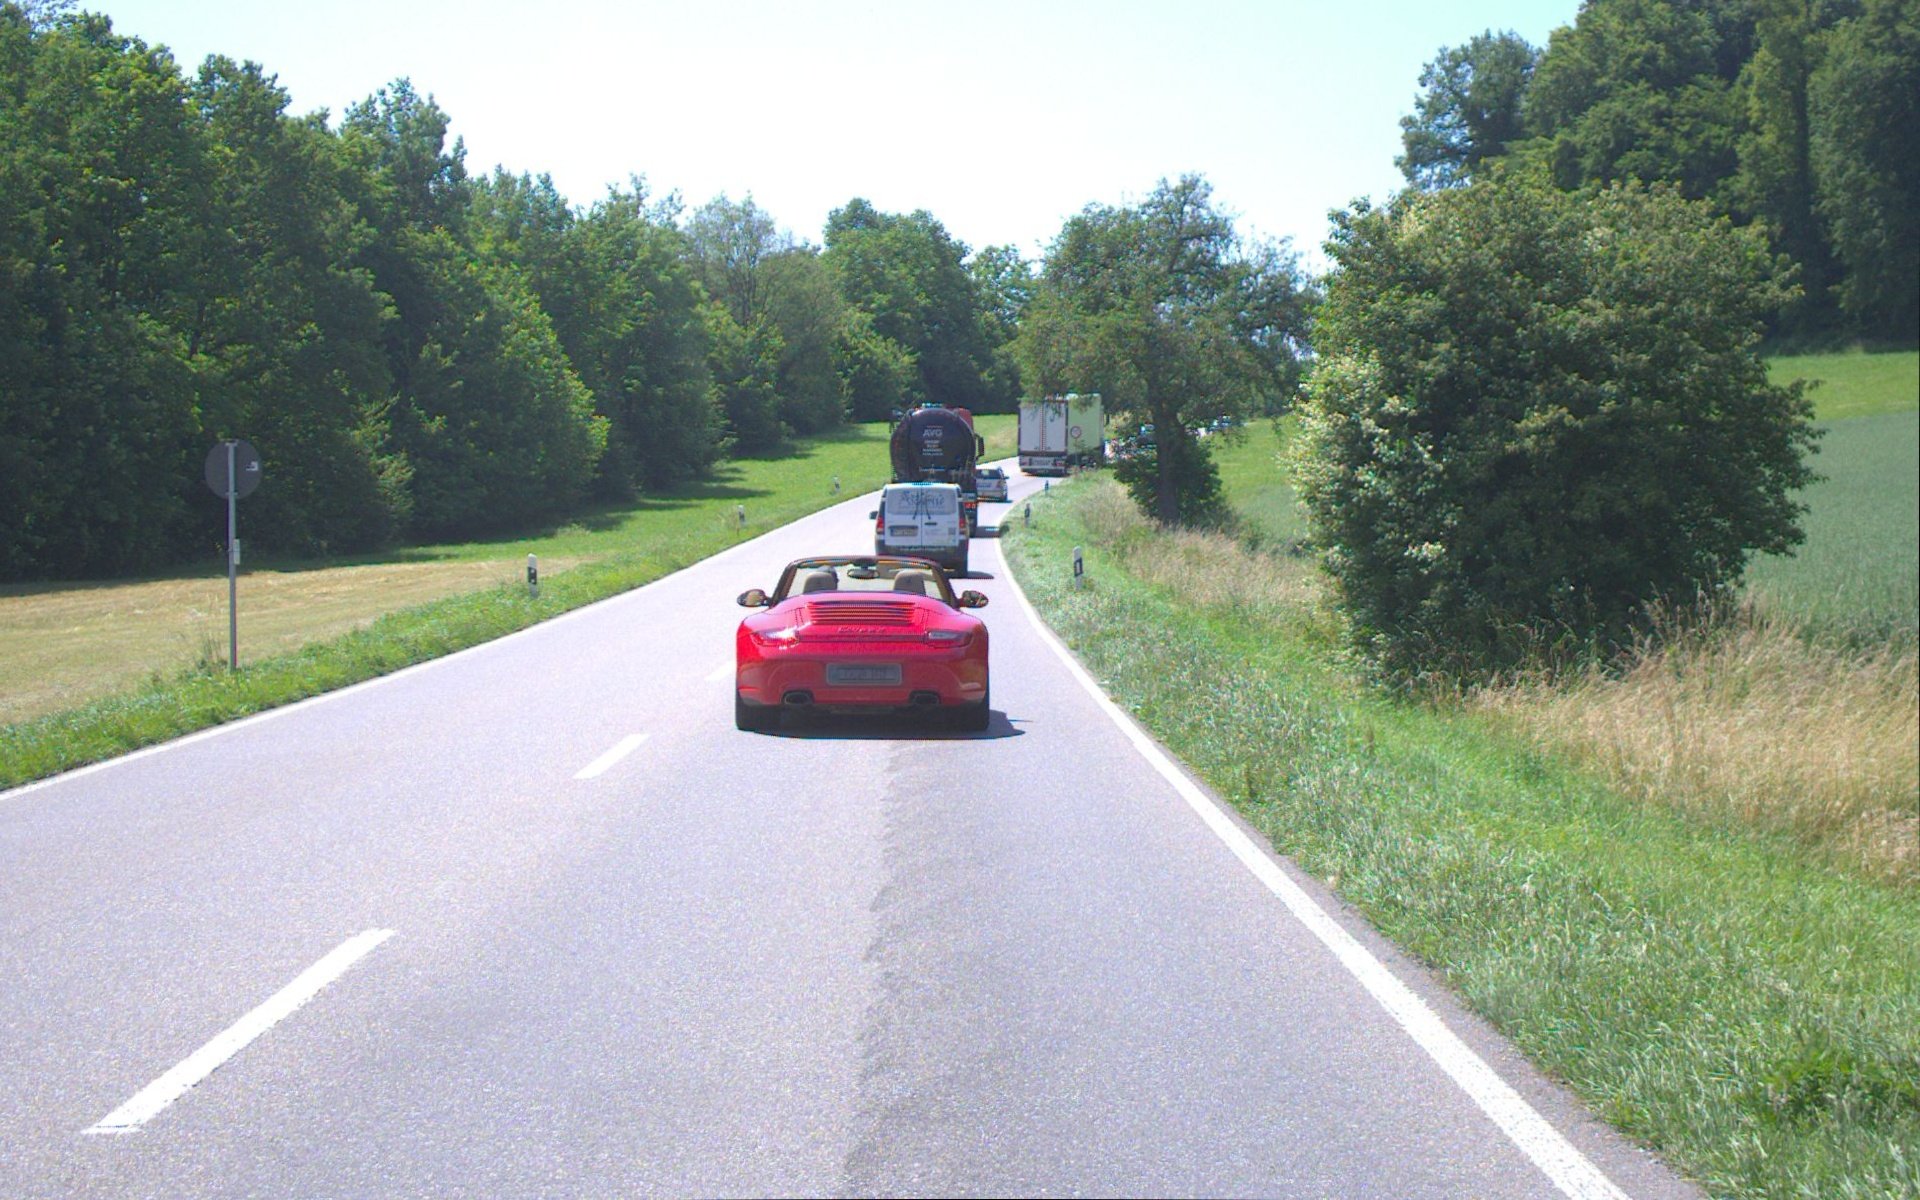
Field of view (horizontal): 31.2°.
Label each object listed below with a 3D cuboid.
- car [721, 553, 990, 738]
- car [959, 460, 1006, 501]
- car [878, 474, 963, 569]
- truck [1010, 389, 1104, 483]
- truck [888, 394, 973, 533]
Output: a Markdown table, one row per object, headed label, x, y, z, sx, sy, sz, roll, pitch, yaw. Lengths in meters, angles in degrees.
| label | x | y | z | sx | sy | sz | roll | pitch | yaw |
| --- | --- | --- | --- | --- | --- | --- | --- | --- | --- |
| car | -0.748 | 0.292 | 26.144 | 1.882 | 1.250 | 4.010 | 0 | 1 | 0 |
| car | 0.989 | -5.155 | 147.920 | 1.831 | 1.508 | 4.191 | -2 | 4 | 3 |
| car | -0.802 | -1.635 | 70.625 | 1.678 | 1.894 | 4.010 | 0 | 2 | 0 |
| truck | 5.274 | -8.850 | 183.799 | 3.726 | 4.643 | 12.030 | 0 | 4 | 8 |
| truck | -0.989 | -4.251 | 107.065 | 2.404 | 4.035 | 12.552 | -1 | 2 | -1 |
